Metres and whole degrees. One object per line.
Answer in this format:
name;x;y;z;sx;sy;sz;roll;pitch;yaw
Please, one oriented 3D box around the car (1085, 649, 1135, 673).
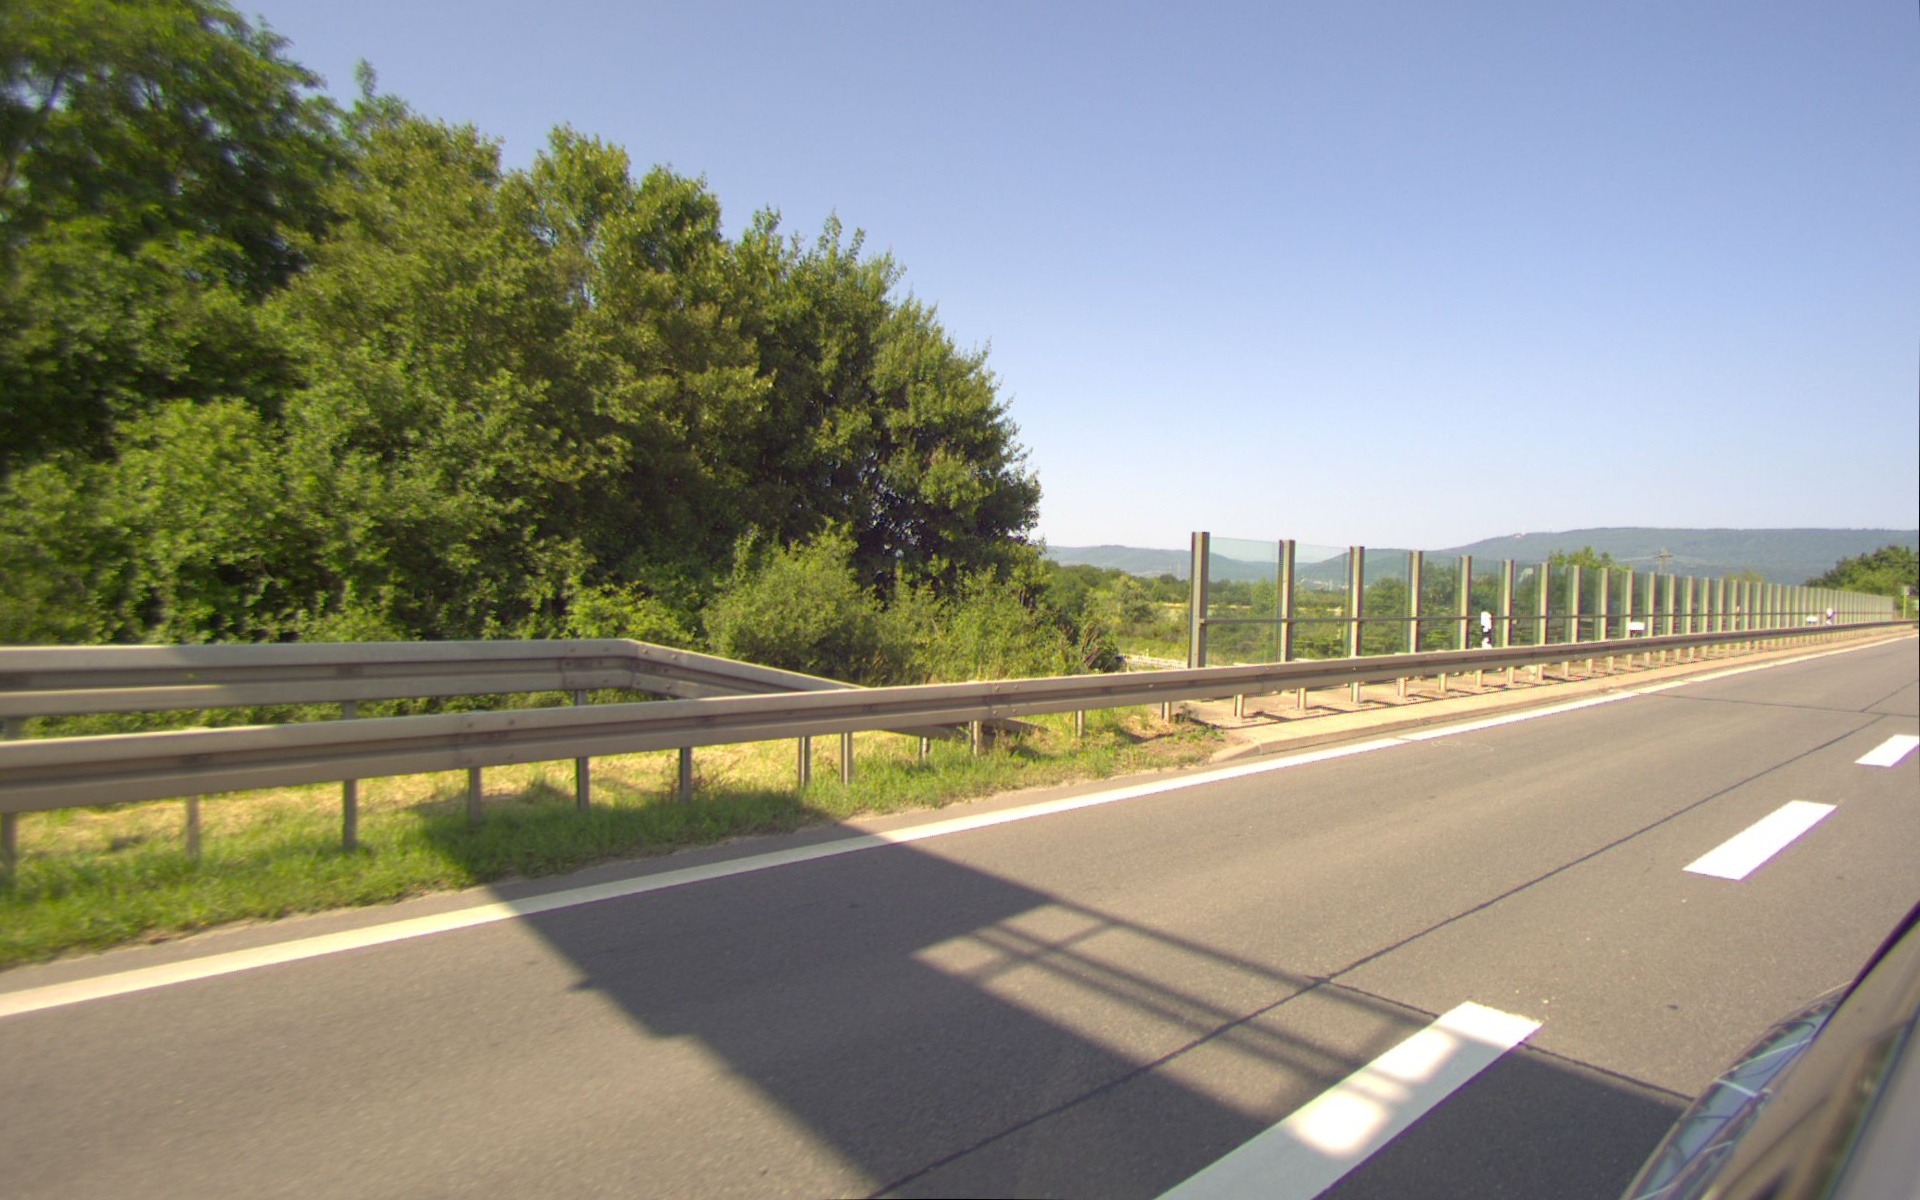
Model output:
car;12.605;5.081;85.279;1.960;1.727;4.265;1;0;-31
